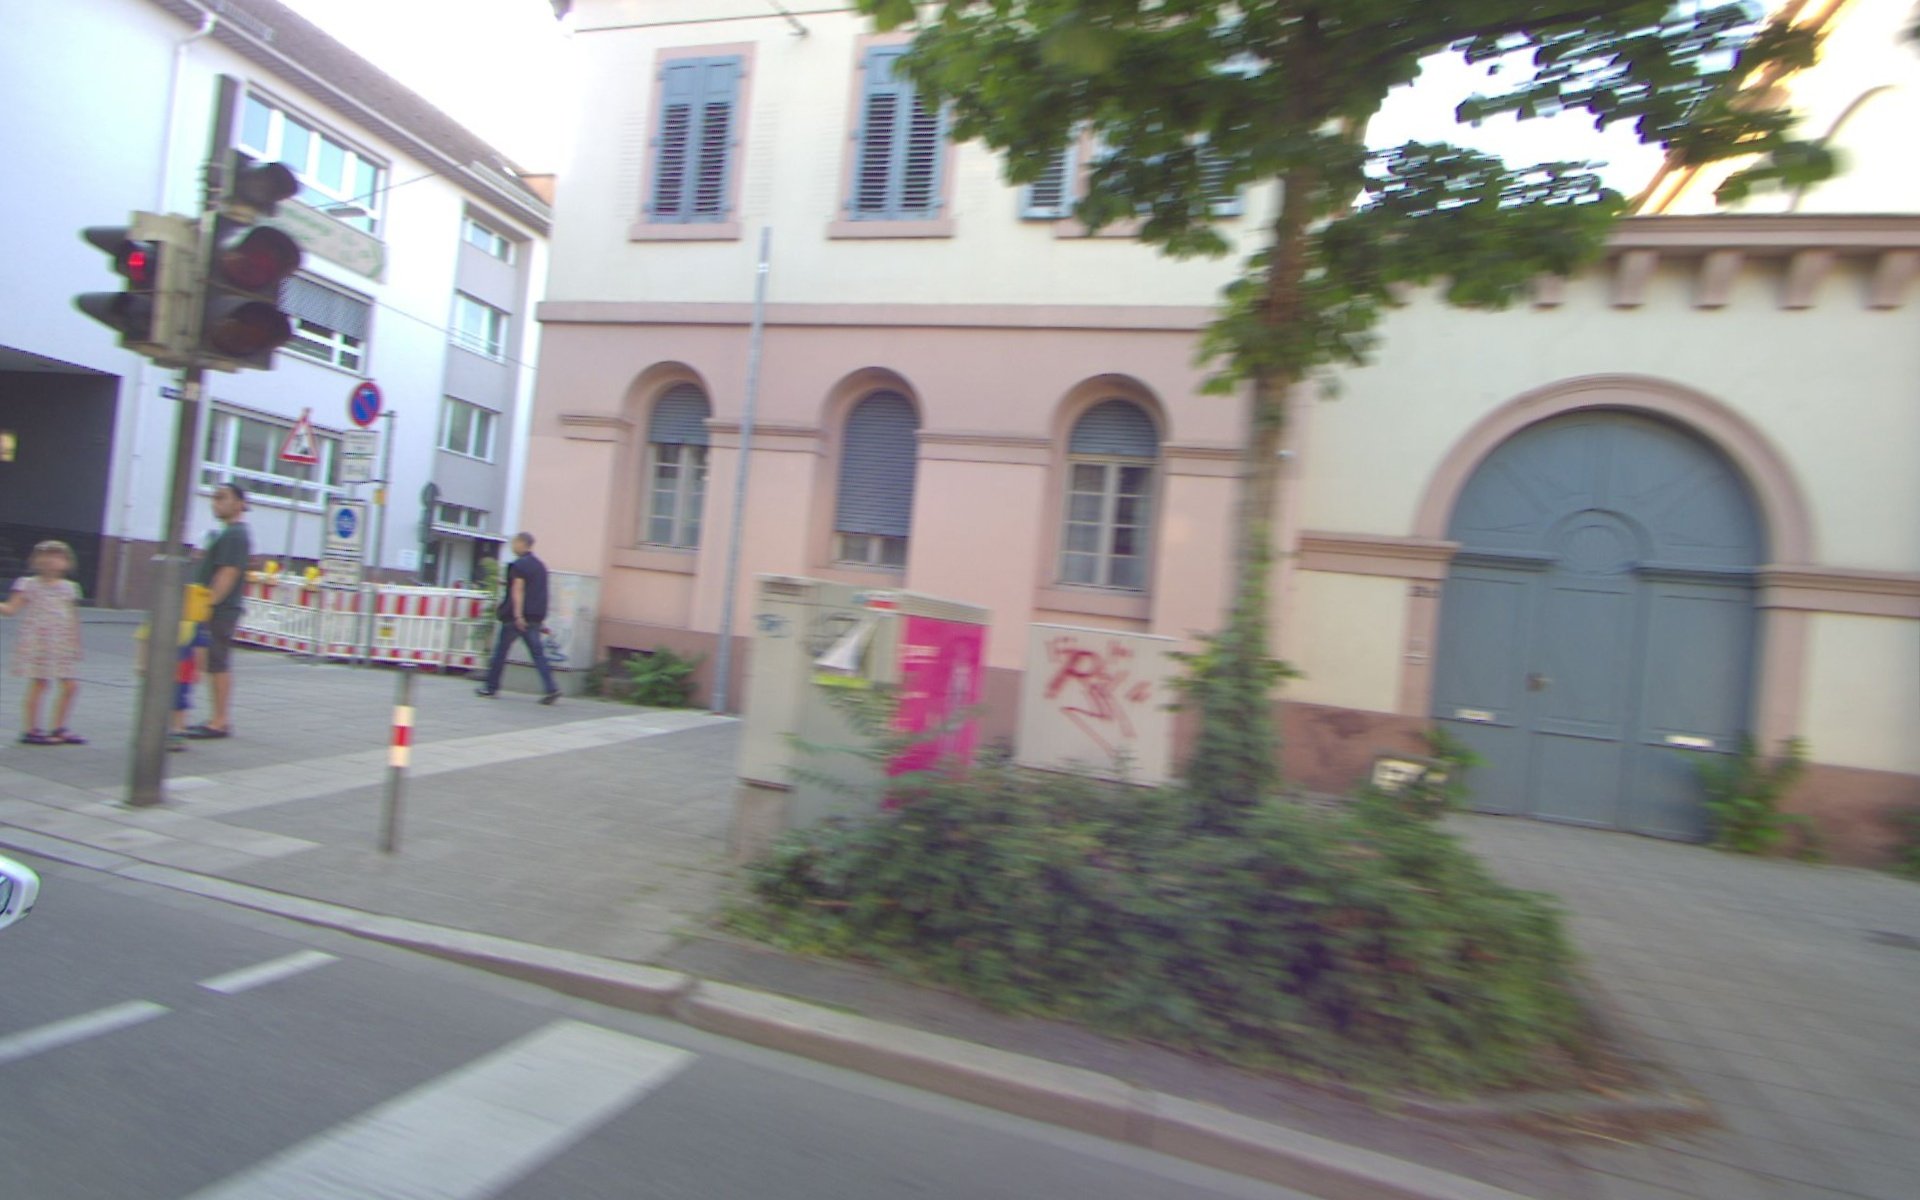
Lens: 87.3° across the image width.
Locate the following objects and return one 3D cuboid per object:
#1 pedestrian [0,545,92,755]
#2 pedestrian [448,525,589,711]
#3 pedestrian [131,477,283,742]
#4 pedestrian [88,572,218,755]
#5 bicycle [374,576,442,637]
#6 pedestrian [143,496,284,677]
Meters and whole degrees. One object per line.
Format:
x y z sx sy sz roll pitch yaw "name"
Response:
-5.918 0.313 6.417 0.487 1.278 0.446 4 2 -44 "pedestrian"
-4.683 0.185 10.698 1.045 1.818 0.699 6 1 18 "pedestrian"
-5.417 0.065 7.251 0.565 1.797 0.544 6 1 18 "pedestrian"
-5.411 0.420 6.771 0.539 1.160 0.489 5 1 -30 "pedestrian"
-12.233 0.162 22.351 0.523 1.254 1.795 6 -1 -5 "bicycle"
-8.341 -0.143 11.250 1.030 1.878 0.699 6 1 22 "pedestrian"
